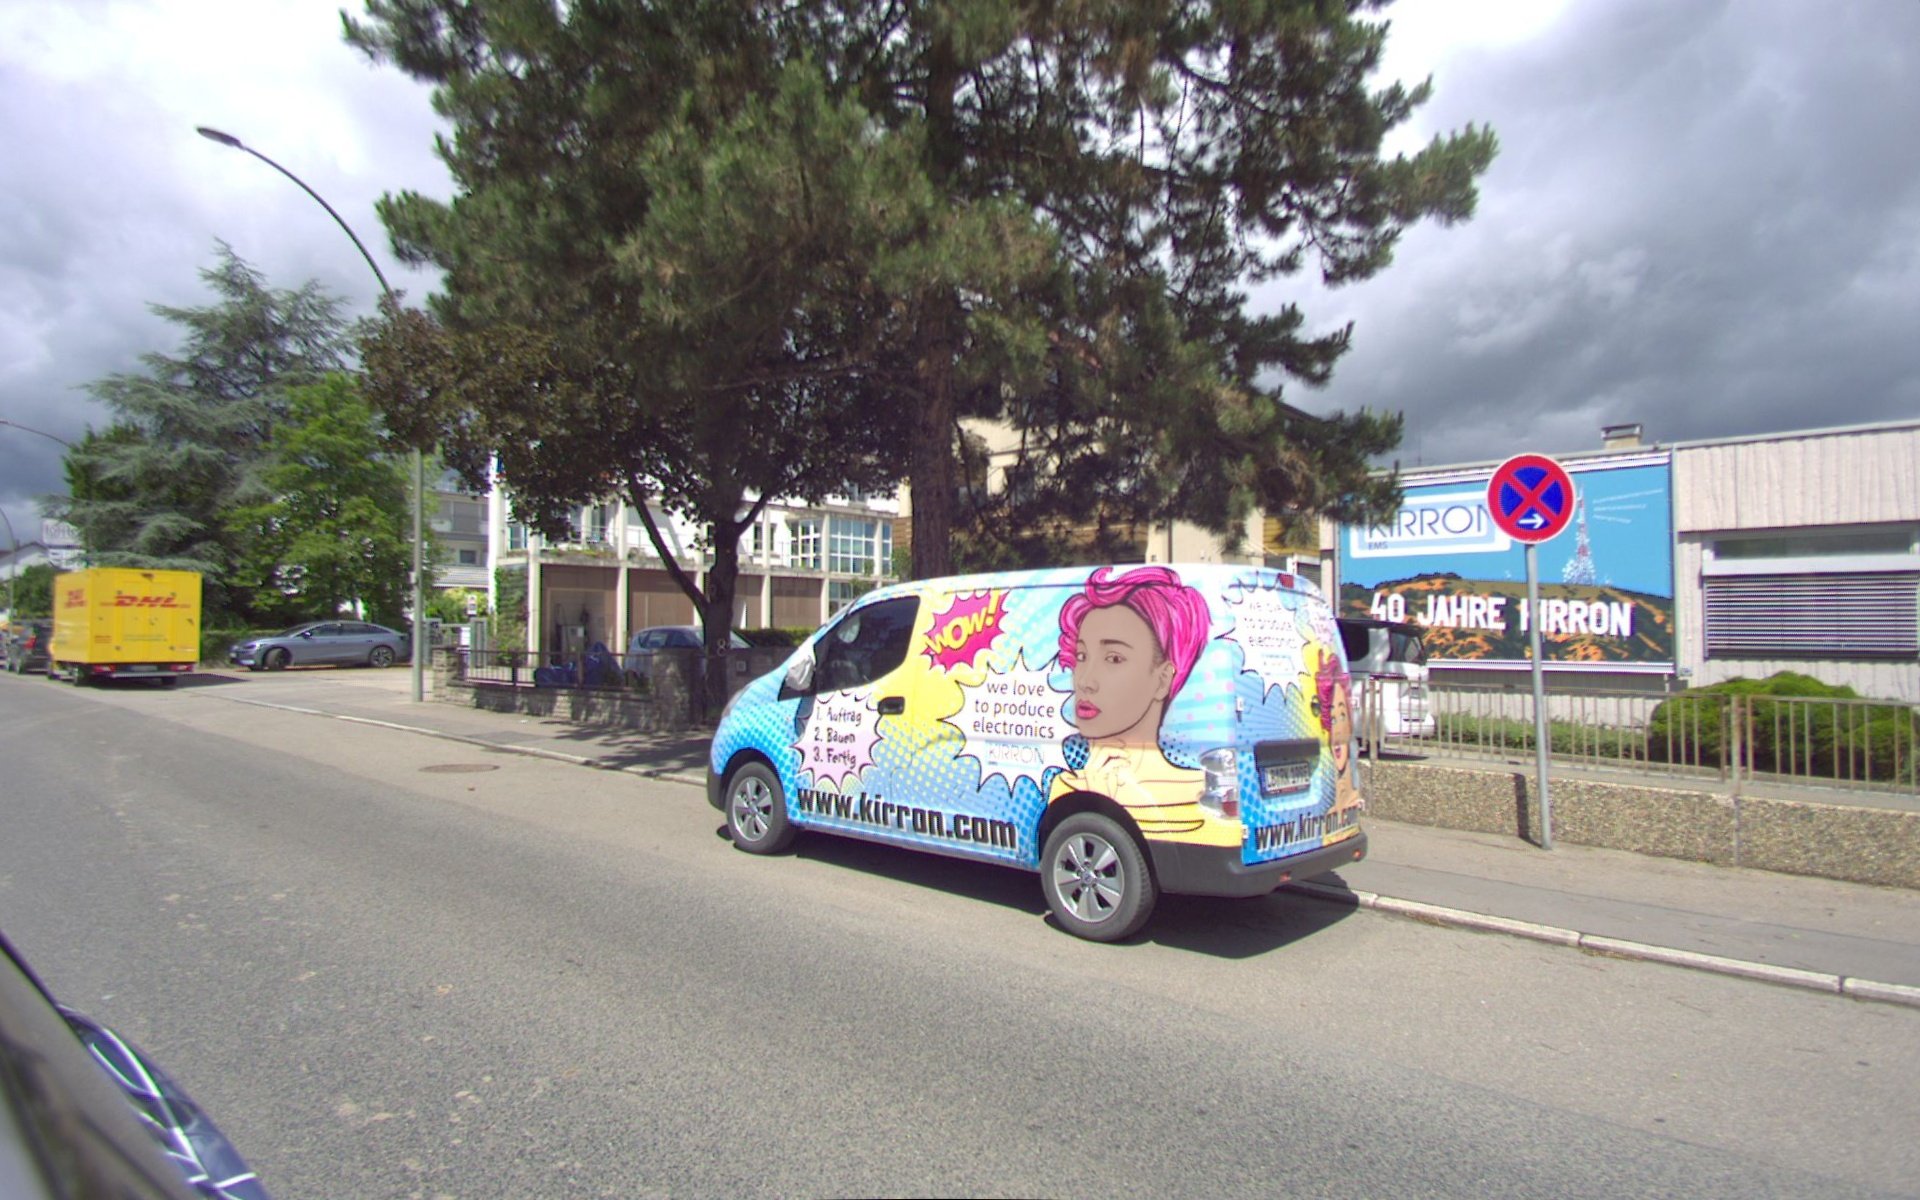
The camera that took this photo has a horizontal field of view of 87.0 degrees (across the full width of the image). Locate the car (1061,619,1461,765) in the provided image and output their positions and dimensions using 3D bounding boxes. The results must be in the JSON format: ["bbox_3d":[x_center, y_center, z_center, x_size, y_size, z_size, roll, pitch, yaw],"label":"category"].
[{"bbox_3d":[4.372,1.247,15.370,5.476,1.845,2.058,-1,-3,41],"label":"car"}]

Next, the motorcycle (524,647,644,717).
[{"bbox_3d":[-6.643,1.416,17.896,1.844,1.174,0.827,2,-3,-33],"label":"motorcycle"}]

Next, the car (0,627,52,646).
[{"bbox_3d":[-76.987,2.956,82.648,1.674,1.505,3.995,-1,-3,40],"label":"car"}]

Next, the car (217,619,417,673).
[{"bbox_3d":[-20.216,1.421,32.018,1.971,1.563,4.958,-1,-2,39],"label":"car"}]

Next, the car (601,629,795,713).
[{"bbox_3d":[-5.485,1.401,21.000,4.081,1.555,1.750,-1,-3,37],"label":"car"}]

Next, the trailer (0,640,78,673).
[{"bbox_3d":[-32.867,1.932,35.190,7.455,0.998,2.294,-1,-4,41],"label":"trailer"}]

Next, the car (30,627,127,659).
[{"bbox_3d":[-50.744,2.466,58.332,1.999,1.762,3.945,-1,-3,41],"label":"car"}]

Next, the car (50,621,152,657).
[{"bbox_3d":[-46.730,2.131,55.119,1.999,1.891,3.945,-1,-3,41],"label":"car"}]

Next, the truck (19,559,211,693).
[{"bbox_3d":[-22.086,0.722,26.273,7.812,3.026,2.300,-1,-5,40],"label":"truck"}]

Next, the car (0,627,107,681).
[{"bbox_3d":[-28.042,1.639,31.128,4.810,1.464,1.972,-1,-6,42],"label":"car"}]

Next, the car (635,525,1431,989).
[{"bbox_3d":[0.119,0.774,6.412,4.893,1.868,1.814,-2,-6,41],"label":"car"}]

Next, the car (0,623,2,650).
[{"bbox_3d":[-46.154,1.905,47.133,4.126,1.689,1.785,-1,-4,41],"label":"car"}]
